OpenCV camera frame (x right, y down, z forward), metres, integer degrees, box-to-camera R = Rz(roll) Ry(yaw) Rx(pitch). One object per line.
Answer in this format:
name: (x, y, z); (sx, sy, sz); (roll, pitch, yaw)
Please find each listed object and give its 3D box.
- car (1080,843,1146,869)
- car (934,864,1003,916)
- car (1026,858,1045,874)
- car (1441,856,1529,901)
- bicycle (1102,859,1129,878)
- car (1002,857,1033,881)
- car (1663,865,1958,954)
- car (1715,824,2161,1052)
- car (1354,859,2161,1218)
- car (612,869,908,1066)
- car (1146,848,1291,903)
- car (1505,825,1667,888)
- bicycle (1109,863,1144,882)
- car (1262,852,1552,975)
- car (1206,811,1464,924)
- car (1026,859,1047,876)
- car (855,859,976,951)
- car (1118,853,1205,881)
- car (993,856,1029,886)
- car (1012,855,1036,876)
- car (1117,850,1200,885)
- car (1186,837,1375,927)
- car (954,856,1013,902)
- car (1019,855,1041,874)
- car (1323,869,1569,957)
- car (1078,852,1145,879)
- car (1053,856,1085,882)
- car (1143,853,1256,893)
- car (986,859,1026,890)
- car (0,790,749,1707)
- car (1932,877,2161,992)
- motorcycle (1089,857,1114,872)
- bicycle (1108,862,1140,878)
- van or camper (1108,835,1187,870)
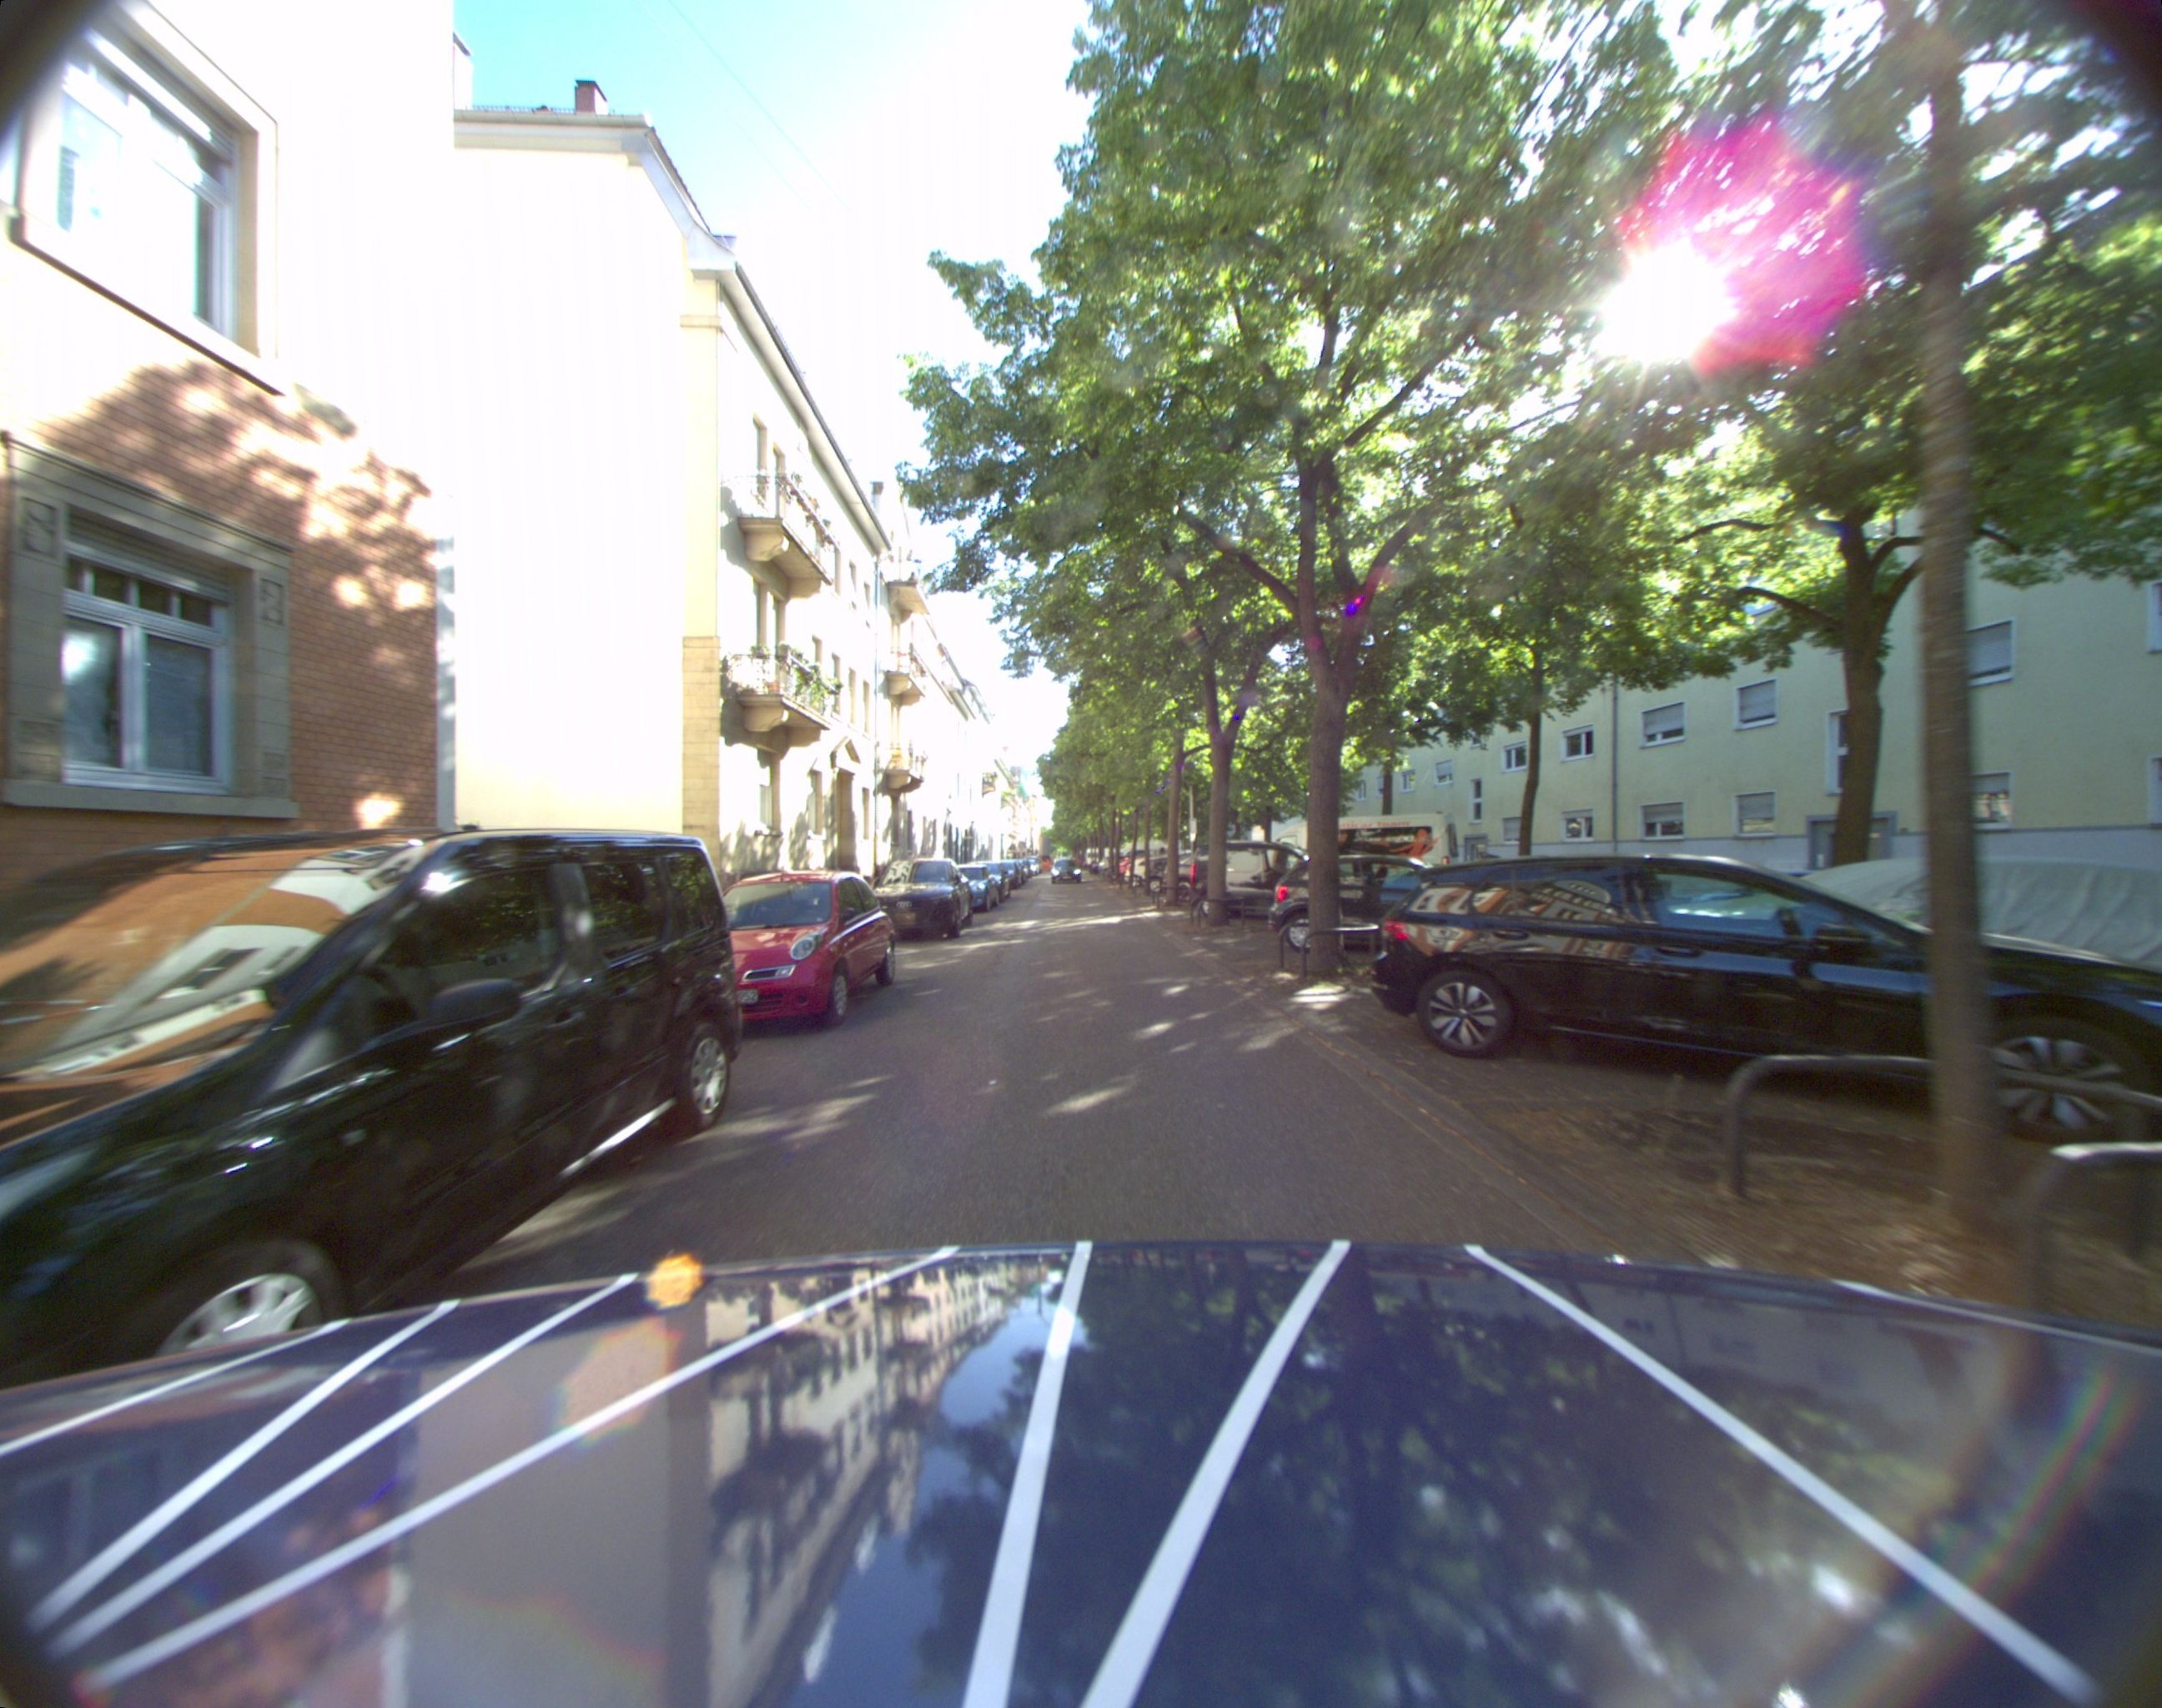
car: (3.210, 0.219, 77.470); (6.311, 2.544, 2.342); (-1, 1, 31)
car: (-3.427, 1.068, 23.769); (1.594, 1.407, 3.631); (-2, 0, 0)
car: (-4.133, 1.054, 69.795); (1.611, 1.412, 4.567); (0, 0, -2)
car: (15.241, 0.893, 28.808); (1.478, 1.550, 3.183); (-2, 0, -3)
bicycle: (2.207, 0.925, 48.430); (1.688, 1.152, 0.379); (-1, 1, 18)
car: (-4.105, 0.958, 49.724); (1.774, 1.423, 4.290); (-1, 0, -1)
car: (15.142, 1.053, 16.230); (1.776, 1.508, 4.590); (-2, 0, -2)
car: (8.198, 0.614, 6.241); (4.094, 1.457, 1.869); (-7, -1, 21)
car: (4.208, 0.830, 5.020); (4.142, 1.545, 1.837); (0, 1, 40)
car: (-3.227, 1.019, 8.575); (1.650, 1.528, 3.999); (-3, 0, -2)
car: (4.405, 0.683, 24.553); (4.265, 1.632, 1.658); (-2, 1, 31)
car: (15.185, 0.086, 23.218); (1.746, 1.712, 4.557); (1, 0, -3)
bicycle: (2.503, 1.028, 41.816); (1.813, 0.988, 0.426); (-1, 1, 14)
car: (4.764, 0.777, 11.347); (3.728, 1.572, 1.639); (-1, 1, 27)
car: (6.665, 0.305, 20.195); (6.067, 2.607, 2.461); (1, 0, 31)
car: (-4.785, 1.429, 81.909); (1.709, 1.502, 4.283); (13, 0, -1)
car: (-3.436, 0.972, 16.596); (1.869, 1.634, 4.490); (-2, 0, -4)
car: (4.588, 0.766, 43.487); (4.618, 1.477, 1.764); (-1, 0, 24)
car: (-4.034, 0.949, 44.220); (1.772, 1.542, 4.182); (-2, 0, -2)
car: (-4.444, 0.872, 59.568); (1.584, 1.541, 4.041); (-1, 0, 0)
car: (3.867, 0.671, 37.751); (3.685, 1.587, 1.775); (-1, 0, 24)
car: (4.592, 0.600, 17.649); (3.840, 1.877, 1.848); (-1, 0, 33)
car: (-3.552, 0.868, 28.391); (1.810, 1.554, 4.319); (1, 0, -3)
car: (-4.404, 0.853, 65.724); (1.603, 1.484, 3.966); (2, 1, -1)
car: (6.130, 0.917, 12.946); (3.558, 1.240, 1.661); (0, 0, 28)
car: (2.032, 0.765, 50.803); (4.079, 1.643, 1.866); (-1, 0, 26)
car: (-0.678, 0.856, 46.471); (1.792, 1.510, 4.000); (0, 0, 1)
car: (4.719, 0.719, 30.362); (4.098, 1.473, 1.735); (0, 1, 30)
car: (-3.789, 1.018, 39.028); (1.696, 1.459, 4.004); (-2, 0, -1)
car: (-3.107, 0.859, 2.849); (1.806, 1.860, 4.272); (-4, 0, -2)
car: (15.666, 1.152, 11.060); (1.778, 1.486, 4.144); (0, 0, -4)
motorcycle: (1.794, 0.910, 66.711); (2.151, 1.222, 0.882); (0, 0, 7)
bicycle: (2.635, 0.994, 46.651); (1.900, 0.913, 0.379); (-1, 1, 18)
van or camper: (5.675, -0.086, 65.061); (6.290, 2.808, 2.412); (-1, 1, 27)
